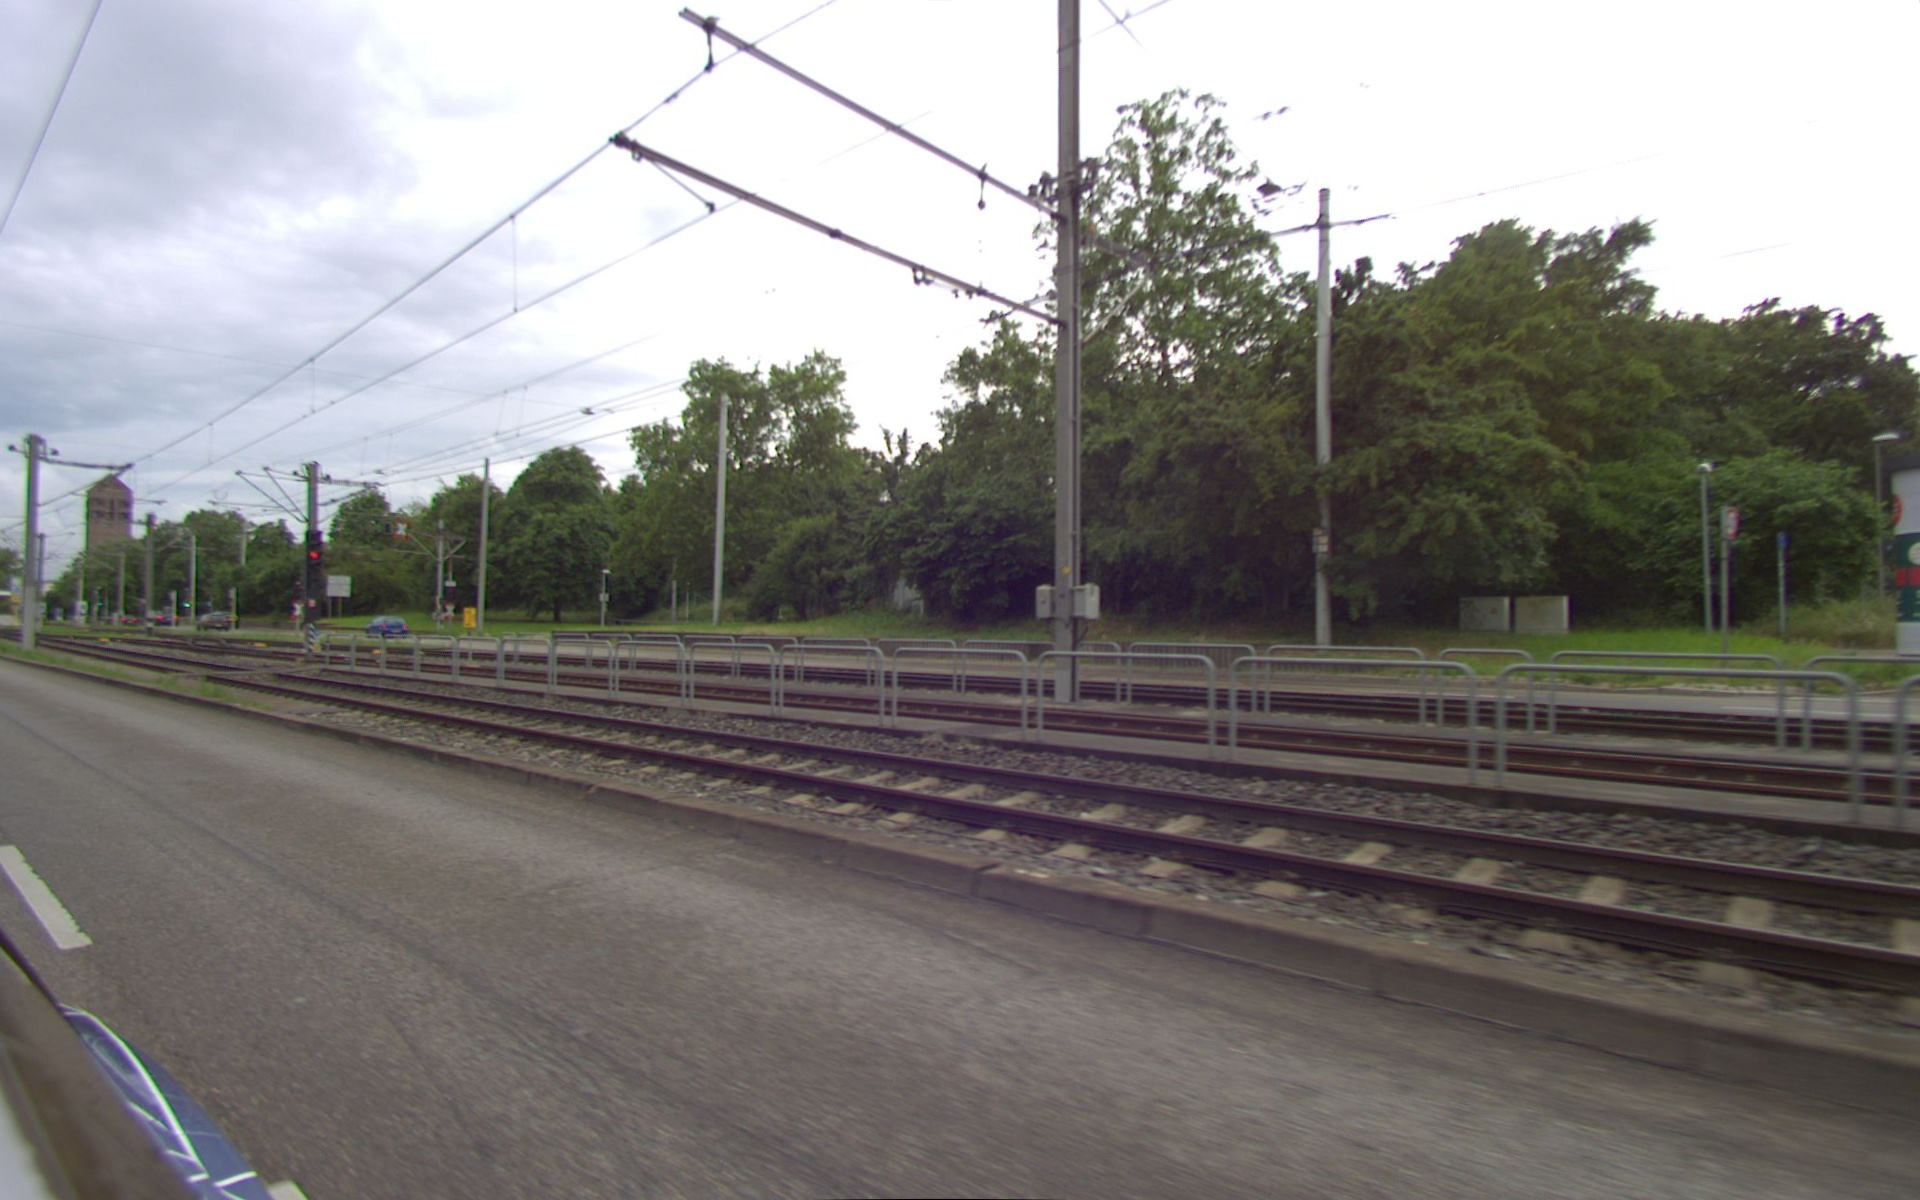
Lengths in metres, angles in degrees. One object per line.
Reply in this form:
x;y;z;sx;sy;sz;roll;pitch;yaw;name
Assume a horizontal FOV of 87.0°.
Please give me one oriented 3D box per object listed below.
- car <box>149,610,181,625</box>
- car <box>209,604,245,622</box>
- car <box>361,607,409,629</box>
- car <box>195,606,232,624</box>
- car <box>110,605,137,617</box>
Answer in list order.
-88.382;1.919;112.459;5.159;1.601;2.066;0;-2;43;car
-69.587;1.206;96.103;4.849;1.607;1.926;-1;-2;44;car
-37.805;1.180;66.484;3.902;1.408;1.741;-1;-2;44;car
-64.785;1.270;87.810;4.310;1.497;1.869;-1;-2;44;car
-104.575;1.419;126.502;4.681;1.458;1.906;0;-2;42;car
